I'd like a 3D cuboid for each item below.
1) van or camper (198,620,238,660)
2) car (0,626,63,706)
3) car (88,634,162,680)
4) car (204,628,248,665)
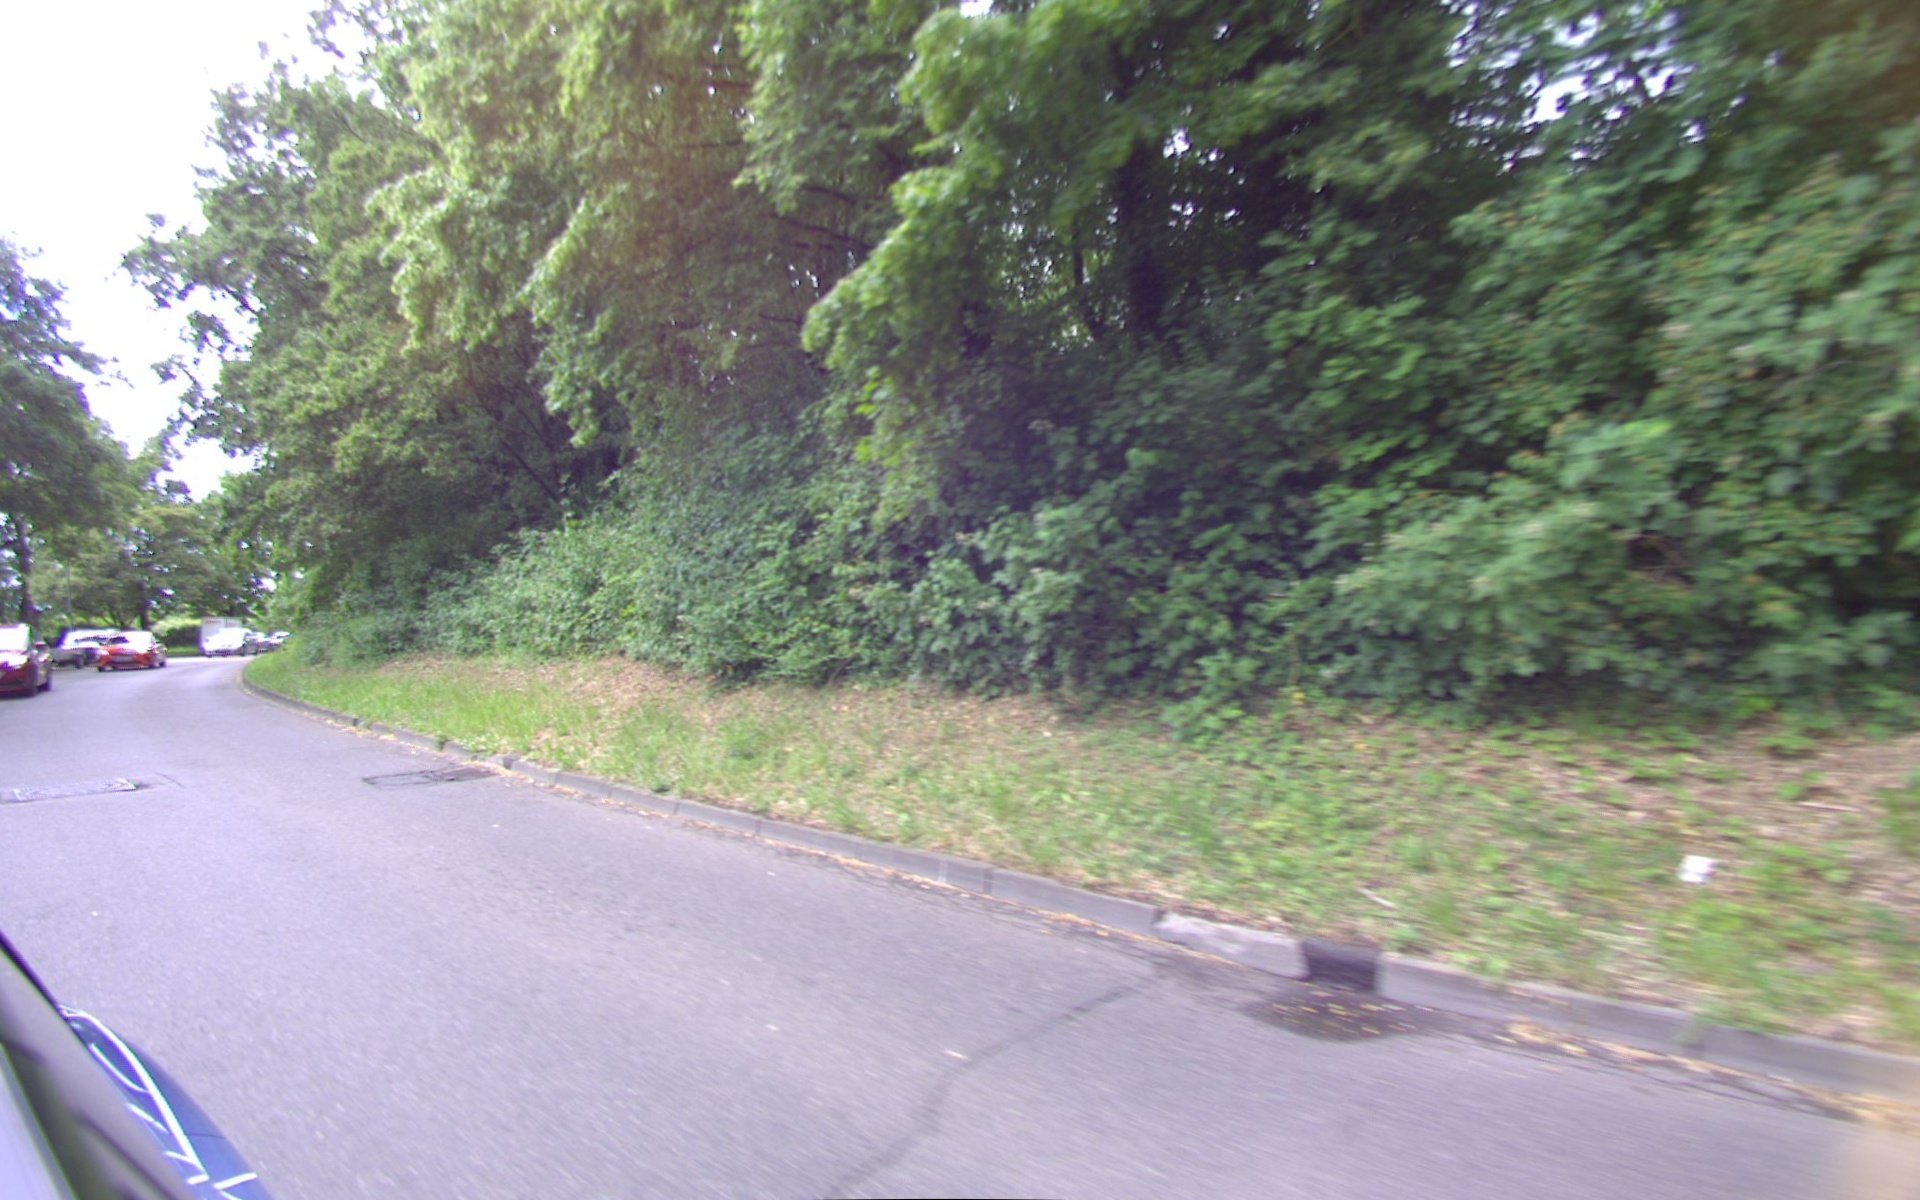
[{"bbox_3d":[-47.821,2.519,65.219,1.967,2.361,5.041,-1,0,-37],"label":"van or camper"},{"bbox_3d":[-22.167,1.466,23.064,1.971,1.621,4.689,-1,0,-34],"label":"car"},{"bbox_3d":[-31.775,2.111,38.614,1.927,1.483,4.688,-1,0,-37],"label":"car"},{"bbox_3d":[-41.274,2.569,56.891,1.927,1.853,4.688,-1,0,-37],"label":"car"}]
